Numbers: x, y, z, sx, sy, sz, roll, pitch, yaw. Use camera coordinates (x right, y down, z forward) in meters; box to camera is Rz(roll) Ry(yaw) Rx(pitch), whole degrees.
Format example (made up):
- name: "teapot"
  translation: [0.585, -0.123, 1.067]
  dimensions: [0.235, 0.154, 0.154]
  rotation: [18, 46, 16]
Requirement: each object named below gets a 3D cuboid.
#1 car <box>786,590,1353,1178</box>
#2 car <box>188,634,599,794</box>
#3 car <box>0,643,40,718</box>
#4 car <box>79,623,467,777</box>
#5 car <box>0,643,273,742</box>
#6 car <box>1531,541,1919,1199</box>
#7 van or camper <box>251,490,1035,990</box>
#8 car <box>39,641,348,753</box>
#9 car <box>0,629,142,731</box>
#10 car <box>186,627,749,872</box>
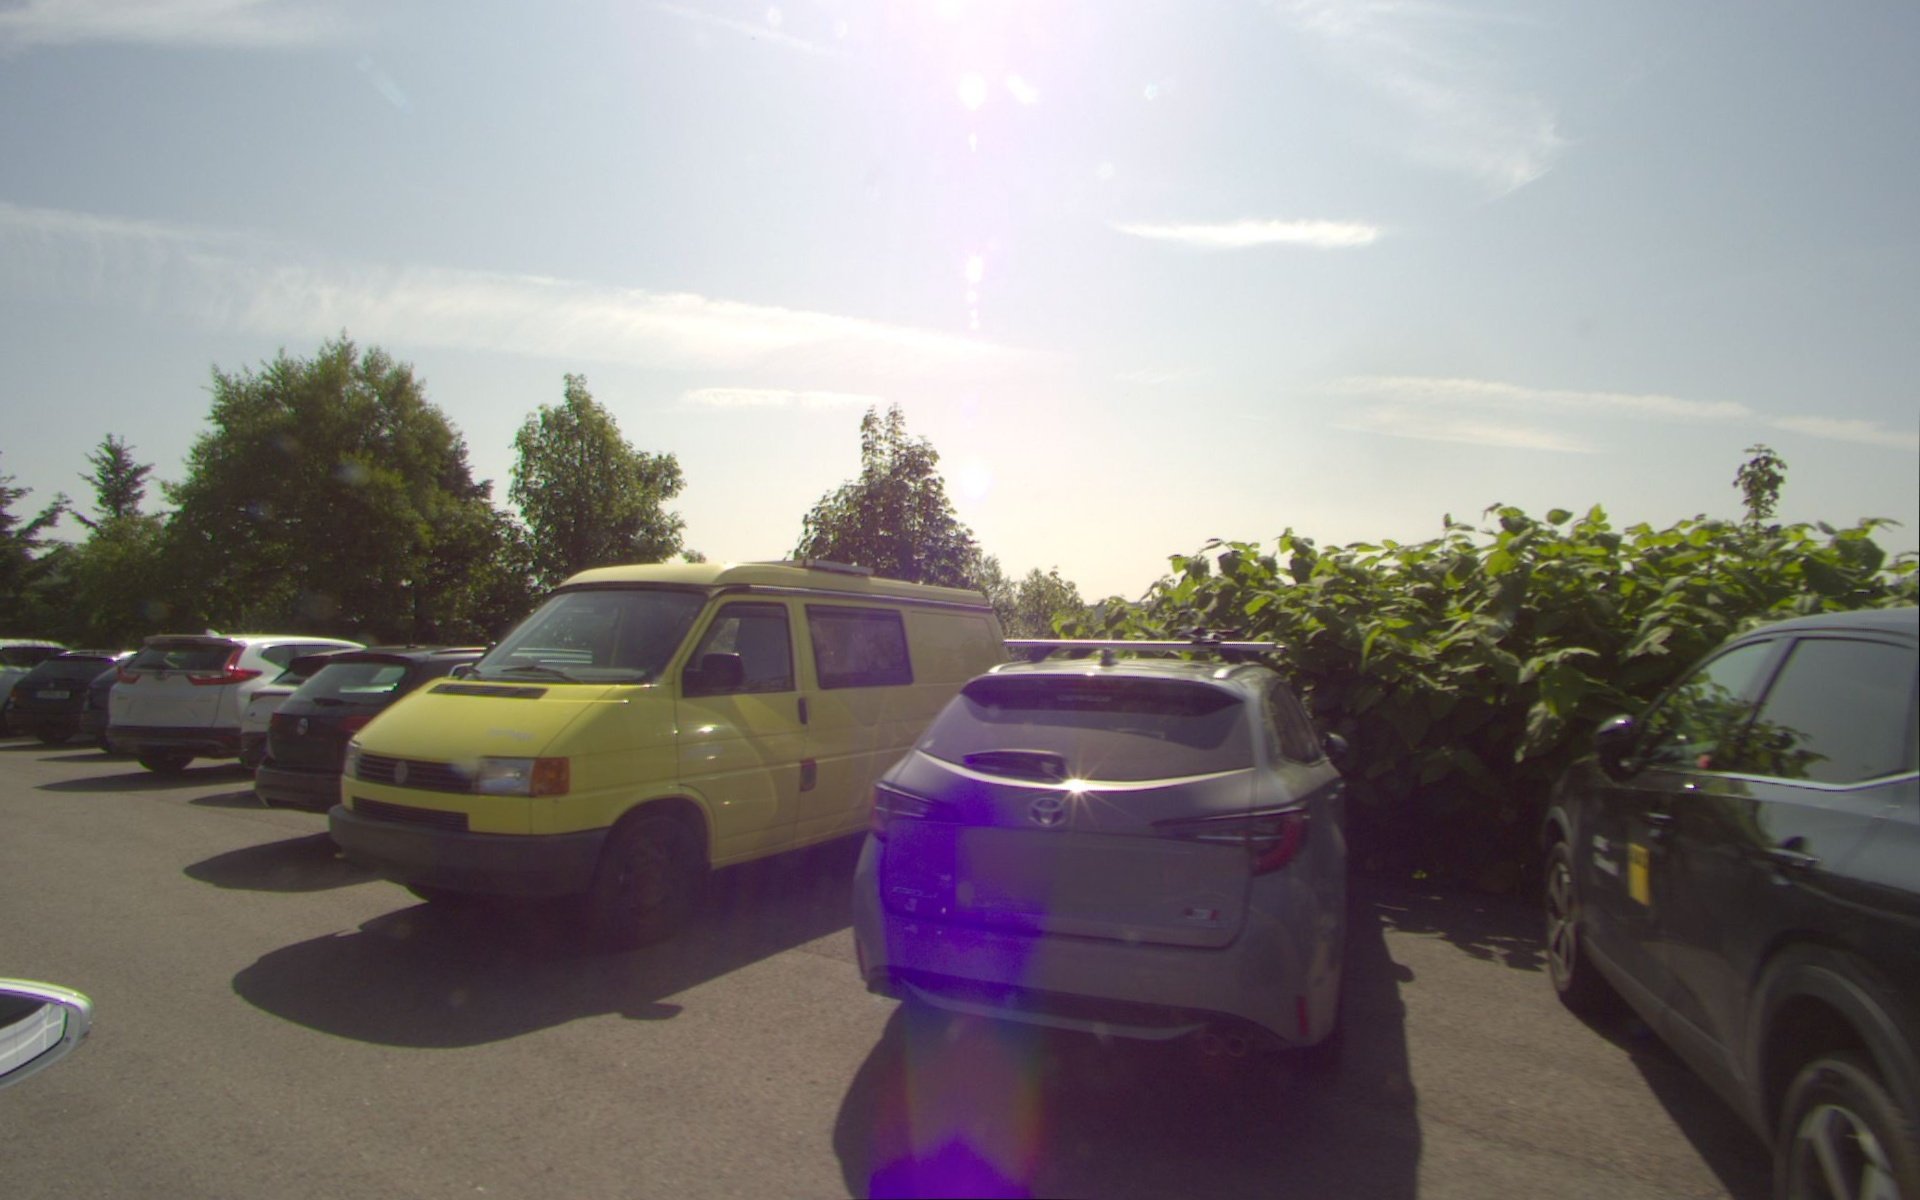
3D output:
- name: "car"
  translation: [1.001, 0.890, 5.009]
  dimensions: [1.676, 1.609, 4.156]
  rotation: [0, -3, 23]
- name: "car"
  translation: [-6.319, 1.220, 11.815]
  dimensions: [1.908, 1.518, 4.099]
  rotation: [0, -3, 14]
- name: "car"
  translation: [-20.635, 1.575, 19.714]
  dimensions: [1.786, 1.567, 4.002]
  rotation: [2, -5, -11]
- name: "car"
  translation: [-8.649, 1.265, 13.173]
  dimensions: [1.855, 1.669, 4.190]
  rotation: [0, -4, 7]
- name: "car"
  translation: [-14.086, 1.554, 17.165]
  dimensions: [1.858, 1.478, 4.057]
  rotation: [1, -4, -2]
- name: "car"
  translation: [2.931, 0.806, 2.646]
  dimensions: [1.883, 1.633, 3.994]
  rotation: [0, -3, 21]
- name: "van or camper"
  translation: [-1.445, 0.759, 6.775]
  dimensions: [1.854, 2.038, 5.090]
  rotation: [0, -4, 30]
- name: "car"
  translation: [-11.566, 1.467, 15.489]
  dimensions: [1.630, 1.476, 3.811]
  rotation: [1, -4, 4]
- name: "car"
  translation: [-17.323, 1.427, 18.283]
  dimensions: [1.829, 1.715, 4.227]
  rotation: [2, -4, -11]
- name: "car"
  translation: [-3.876, 1.026, 8.815]
  dimensions: [1.782, 1.507, 4.353]
  rotation: [0, -1, 23]
